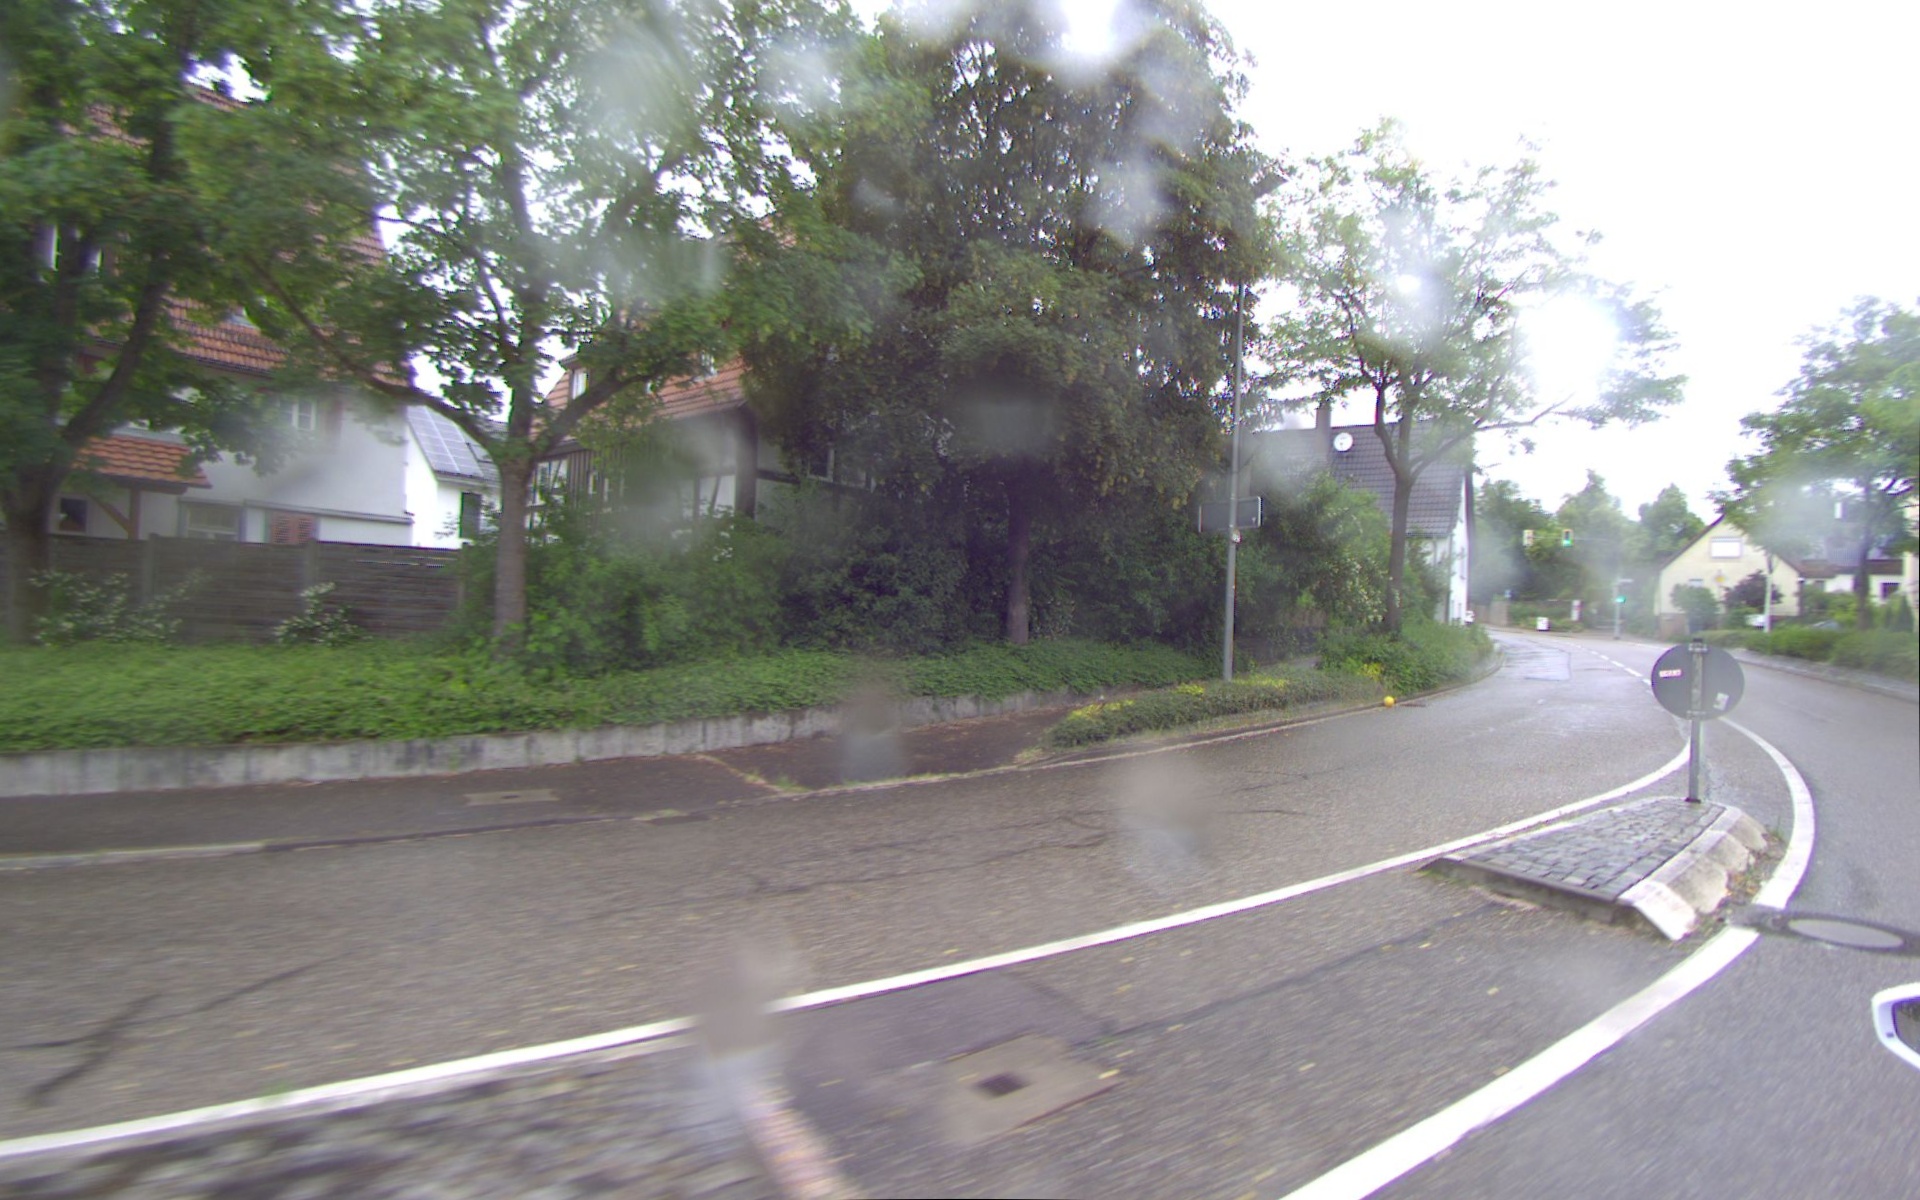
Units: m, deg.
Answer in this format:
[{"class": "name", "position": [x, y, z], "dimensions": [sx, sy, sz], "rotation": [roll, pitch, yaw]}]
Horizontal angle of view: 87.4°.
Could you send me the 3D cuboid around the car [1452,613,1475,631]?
[{"class": "car", "position": [46.033, 1.998, 91.866], "dimensions": [1.586, 1.500, 4.036], "rotation": [1, 0, 22]}]
